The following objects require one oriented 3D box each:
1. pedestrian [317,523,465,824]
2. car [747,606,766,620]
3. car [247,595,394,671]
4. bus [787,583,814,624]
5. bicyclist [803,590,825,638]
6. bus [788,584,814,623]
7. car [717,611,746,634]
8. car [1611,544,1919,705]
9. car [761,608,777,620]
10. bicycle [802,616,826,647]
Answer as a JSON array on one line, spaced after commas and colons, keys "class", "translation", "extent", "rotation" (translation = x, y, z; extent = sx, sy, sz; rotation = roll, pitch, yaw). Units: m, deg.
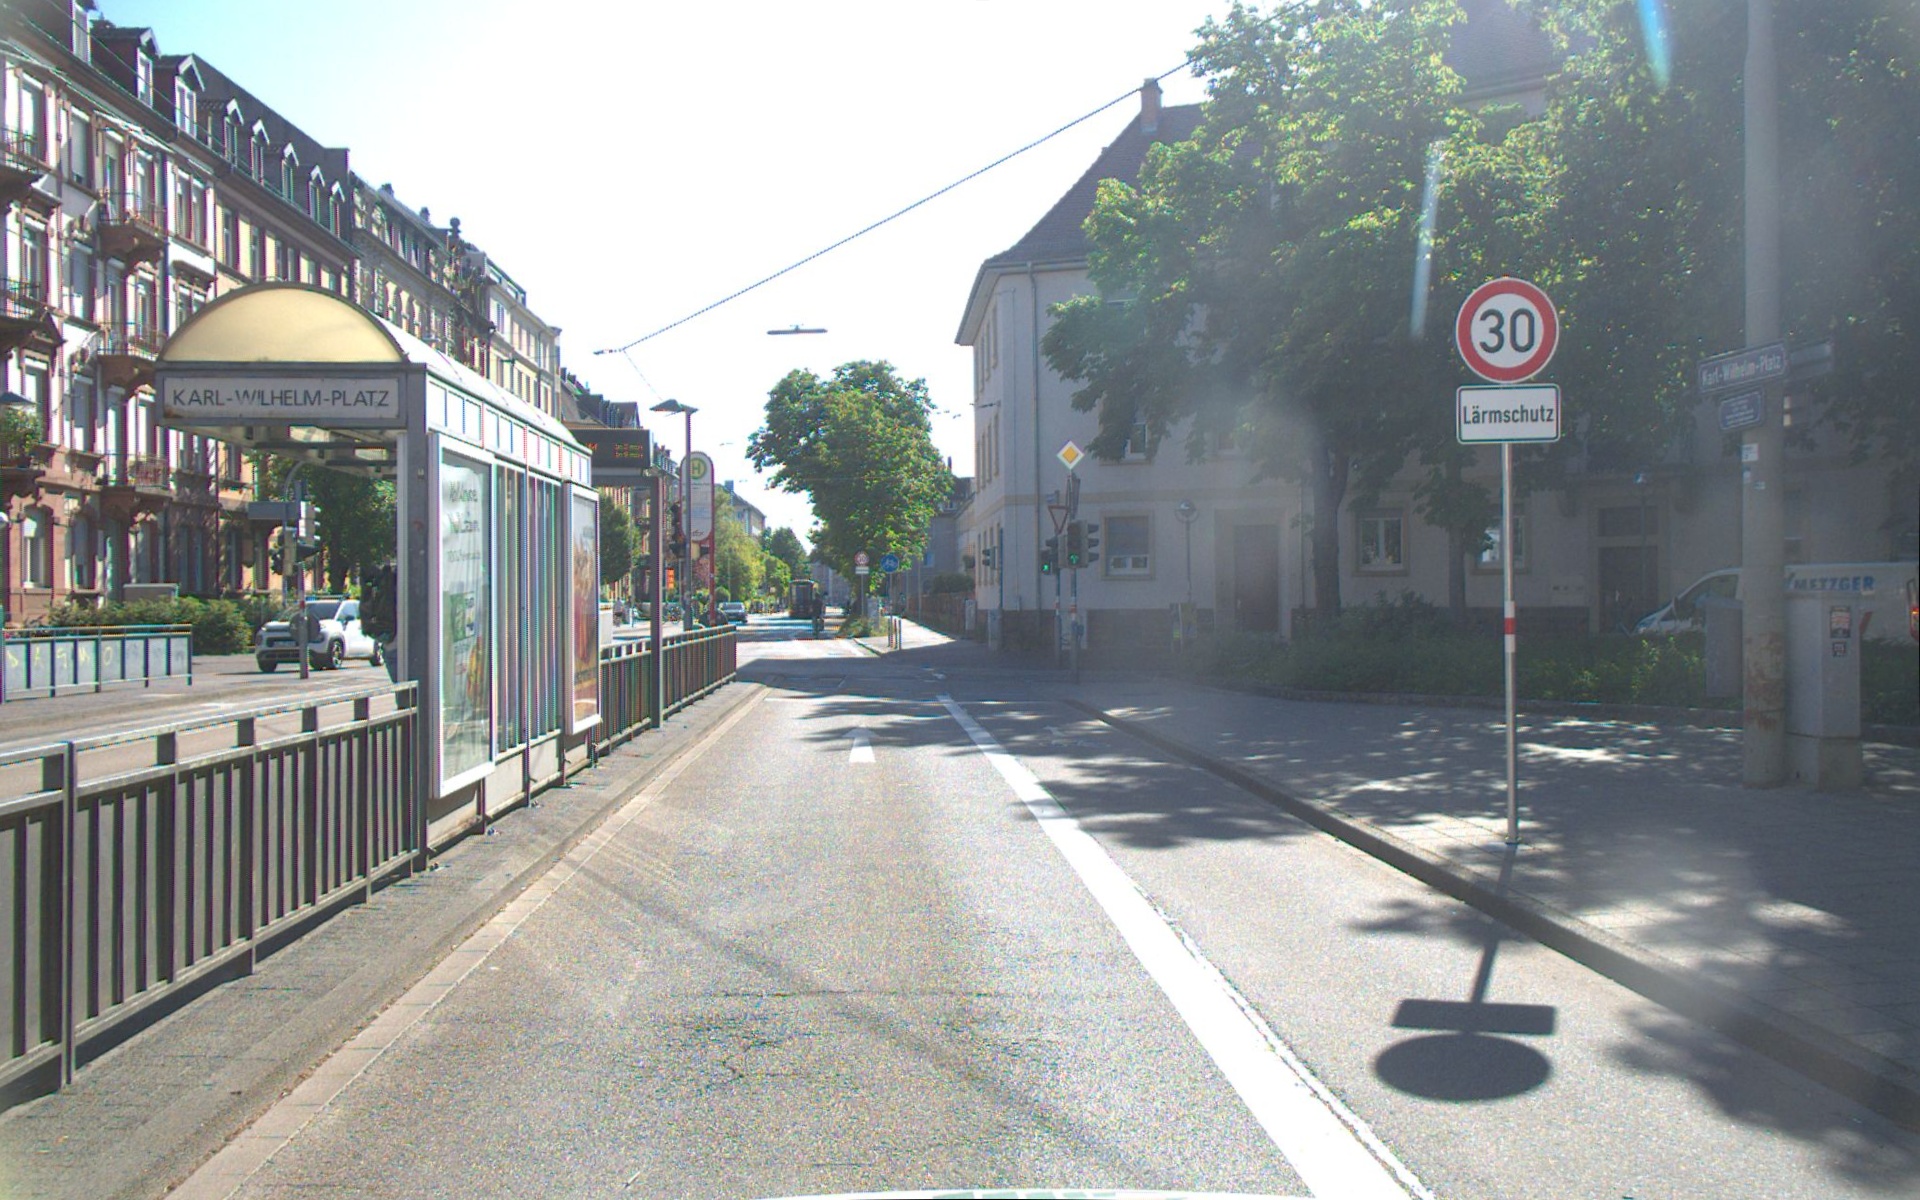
[{"class": "pedestrian", "translation": [-3.994, 0.509, 11.658], "extent": [0.779, 2.049, 0.740], "rotation": [0, -1, -3]}, {"class": "car", "translation": [-24.370, 1.579, 198.179], "extent": [1.954, 1.624, 3.997], "rotation": [0, -1, -4]}, {"class": "car", "translation": [-14.628, 0.736, 38.058], "extent": [1.739, 1.646, 4.000], "rotation": [0, -1, 1]}, {"class": "bus", "translation": [-14.372, 0.349, 149.158], "extent": [2.339, 3.558, 7.375], "rotation": [0, -1, -5]}, {"class": "bicyclist", "translation": [-5.677, 0.560, 64.483], "extent": [0.801, 1.843, 1.058], "rotation": [0, -1, -4]}, {"class": "bus", "translation": [-15.035, 0.398, 156.535], "extent": [2.339, 3.558, 7.375], "rotation": [0, -1, -5]}, {"class": "car", "translation": [-16.414, 1.627, 119.029], "extent": [1.955, 1.624, 3.994], "rotation": [0, -1, -7]}, {"class": "car", "translation": [12.885, 0.374, 25.694], "extent": [2.100, 2.247, 4.886], "rotation": [1, -1, -34]}, {"class": "car", "translation": [-25.653, 1.843, 222.335], "extent": [1.954, 1.624, 3.997], "rotation": [0, -1, -4]}, {"class": "bicycle", "translation": [-5.692, 1.229, 64.622], "extent": [0.825, 1.176, 2.537], "rotation": [0, -1, -3]}]
